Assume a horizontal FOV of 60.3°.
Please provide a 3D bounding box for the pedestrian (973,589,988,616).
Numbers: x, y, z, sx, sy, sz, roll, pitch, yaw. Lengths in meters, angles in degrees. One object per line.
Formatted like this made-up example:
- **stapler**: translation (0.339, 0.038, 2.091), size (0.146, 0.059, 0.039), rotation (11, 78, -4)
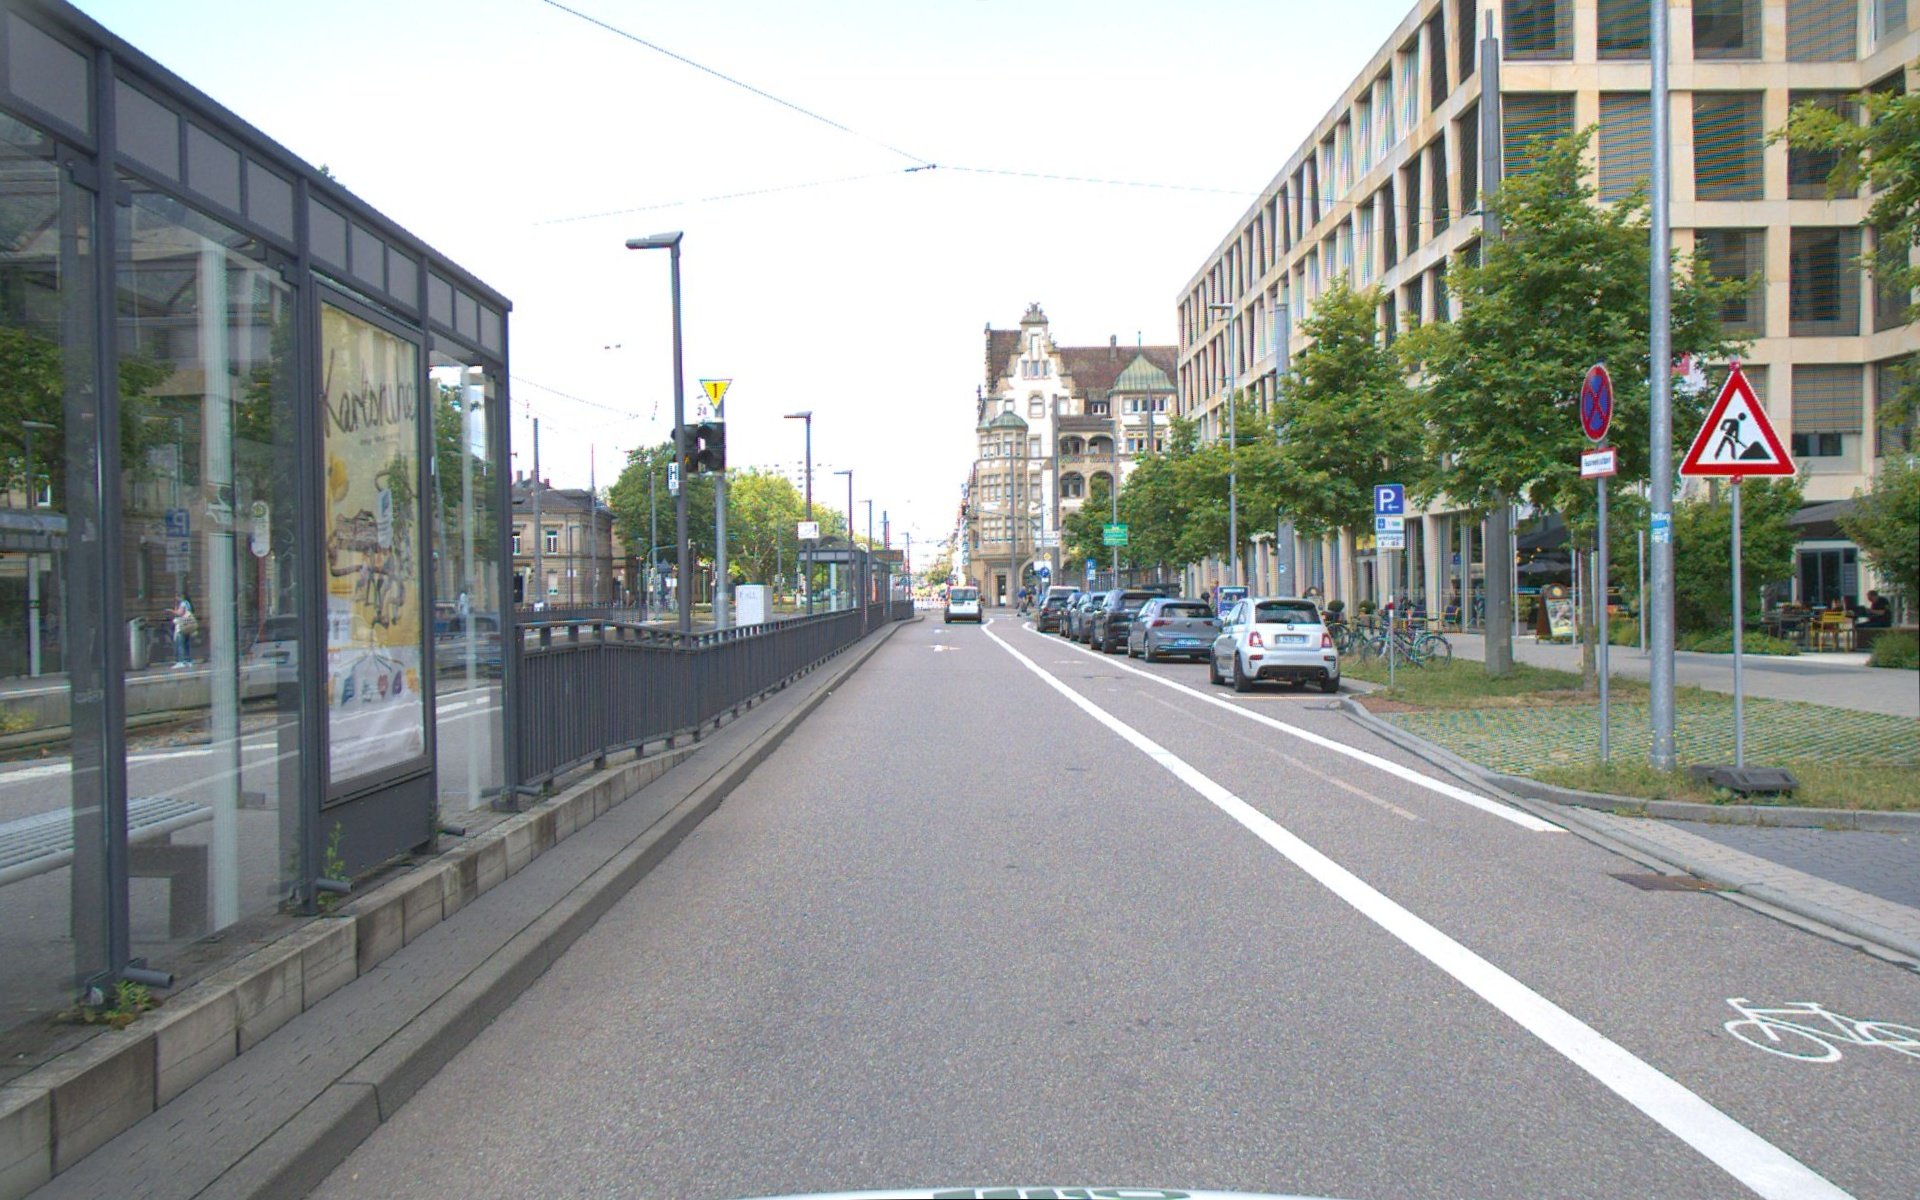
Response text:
- **pedestrian**: translation (1.251, 0.161, 100.155), size (0.789, 1.599, 0.629), rotation (-3, 0, -2)

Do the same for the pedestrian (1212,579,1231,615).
- **pedestrian**: translation (12.315, -0.142, 77.891), size (0.745, 1.699, 0.659), rotation (-1, 0, -2)

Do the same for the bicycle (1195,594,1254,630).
- **bicycle**: translation (8.485, 0.382, 53.024), size (1.802, 1.048, 0.340), rotation (-3, 0, -2)

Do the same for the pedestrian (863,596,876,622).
- **pedestrian**: translation (-3.993, 0.395, 73.208), size (0.503, 1.160, 0.501), rotation (-3, 0, -1)

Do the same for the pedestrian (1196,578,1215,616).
- **pedestrian**: translation (11.559, -0.151, 77.869), size (0.745, 1.754, 0.659), rotation (-1, 0, -2)

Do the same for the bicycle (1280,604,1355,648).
- **bicycle**: translation (8.703, 0.630, 40.291), size (1.717, 1.003, 0.325), rotation (-2, 0, -2)

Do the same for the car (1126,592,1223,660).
- **car**: translation (4.943, 0.561, 38.555), size (1.559, 1.459, 4.105), rotation (1, 0, -3)

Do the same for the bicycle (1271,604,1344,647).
- **bicycle**: translation (8.608, 0.631, 40.991), size (1.717, 1.003, 0.325), rotation (-2, 0, -2)

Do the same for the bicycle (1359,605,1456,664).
- **bicycle**: translation (8.694, 0.673, 32.144), size (1.785, 1.094, 0.275), rotation (-1, 0, 3)

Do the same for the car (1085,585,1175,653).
- **car**: translation (4.502, 0.458, 44.447), size (1.703, 1.698, 4.838), rotation (1, 0, -2)

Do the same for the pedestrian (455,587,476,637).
- **pedestrian**: translation (-17.245, 0.402, 57.699), size (0.490, 1.713, 0.643), rotation (-2, 0, -1)

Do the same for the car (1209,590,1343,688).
- **car**: translation (5.151, 0.593, 27.341), size (1.558, 1.486, 3.613), rotation (0, 1, 0)

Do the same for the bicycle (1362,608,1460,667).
- **bicycle**: translation (8.680, 0.726, 31.841), size (1.785, 1.094, 0.275), rotation (-1, 0, 3)

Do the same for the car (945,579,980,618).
- **car**: translation (0.116, -0.104, 90.132), size (1.831, 2.055, 3.999), rotation (0, 0, -1)

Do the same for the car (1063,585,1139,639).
- **car**: translation (4.426, 0.346, 52.519), size (1.771, 1.619, 4.838), rotation (1, 0, -3)

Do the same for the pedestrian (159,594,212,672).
- **pedestrian**: translation (-15.690, 0.651, 33.511), size (0.688, 1.539, 0.802), rotation (-2, 0, -5)

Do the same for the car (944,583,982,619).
- **car**: translation (0.125, 0.045, 82.540), size (1.831, 1.777, 3.999), rotation (0, 0, -1)

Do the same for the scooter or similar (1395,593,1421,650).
- **scooter or similar**: translation (9.903, 0.462, 36.586), size (0.253, 1.237, 1.015), rotation (-1, 0, -1)

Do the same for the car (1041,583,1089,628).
- **car**: translation (4.420, 0.203, 70.228), size (1.675, 1.828, 3.360), rotation (1, 0, -3)

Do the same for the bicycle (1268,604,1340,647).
- **bicycle**: translation (8.600, 0.630, 41.339), size (1.717, 1.003, 0.325), rotation (-2, 0, -2)

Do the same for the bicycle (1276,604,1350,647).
- **bicycle**: translation (8.663, 0.630, 40.632), size (1.717, 1.003, 0.325), rotation (-2, 0, -2)

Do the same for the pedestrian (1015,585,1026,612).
- **pedestrian**: translation (3.717, -0.102, 101.882), size (0.523, 1.599, 0.542), rotation (-3, 0, -3)

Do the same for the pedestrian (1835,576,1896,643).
- **pedestrian**: translation (19.485, 0.202, 35.600), size (0.760, 1.386, 0.868), rotation (-3, 0, -1)

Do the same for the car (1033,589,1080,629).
- **car**: translation (3.784, 0.319, 65.246), size (1.414, 1.496, 4.091), rotation (1, 0, -2)

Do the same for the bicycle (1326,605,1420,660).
- **bicycle**: translation (8.596, 0.676, 34.439), size (1.785, 1.094, 0.686), rotation (-1, 0, 3)

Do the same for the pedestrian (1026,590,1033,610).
- **pedestrian**: translation (5.825, 0.016, 138.715), size (0.476, 1.637, 0.362), rotation (-3, 0, -2)
